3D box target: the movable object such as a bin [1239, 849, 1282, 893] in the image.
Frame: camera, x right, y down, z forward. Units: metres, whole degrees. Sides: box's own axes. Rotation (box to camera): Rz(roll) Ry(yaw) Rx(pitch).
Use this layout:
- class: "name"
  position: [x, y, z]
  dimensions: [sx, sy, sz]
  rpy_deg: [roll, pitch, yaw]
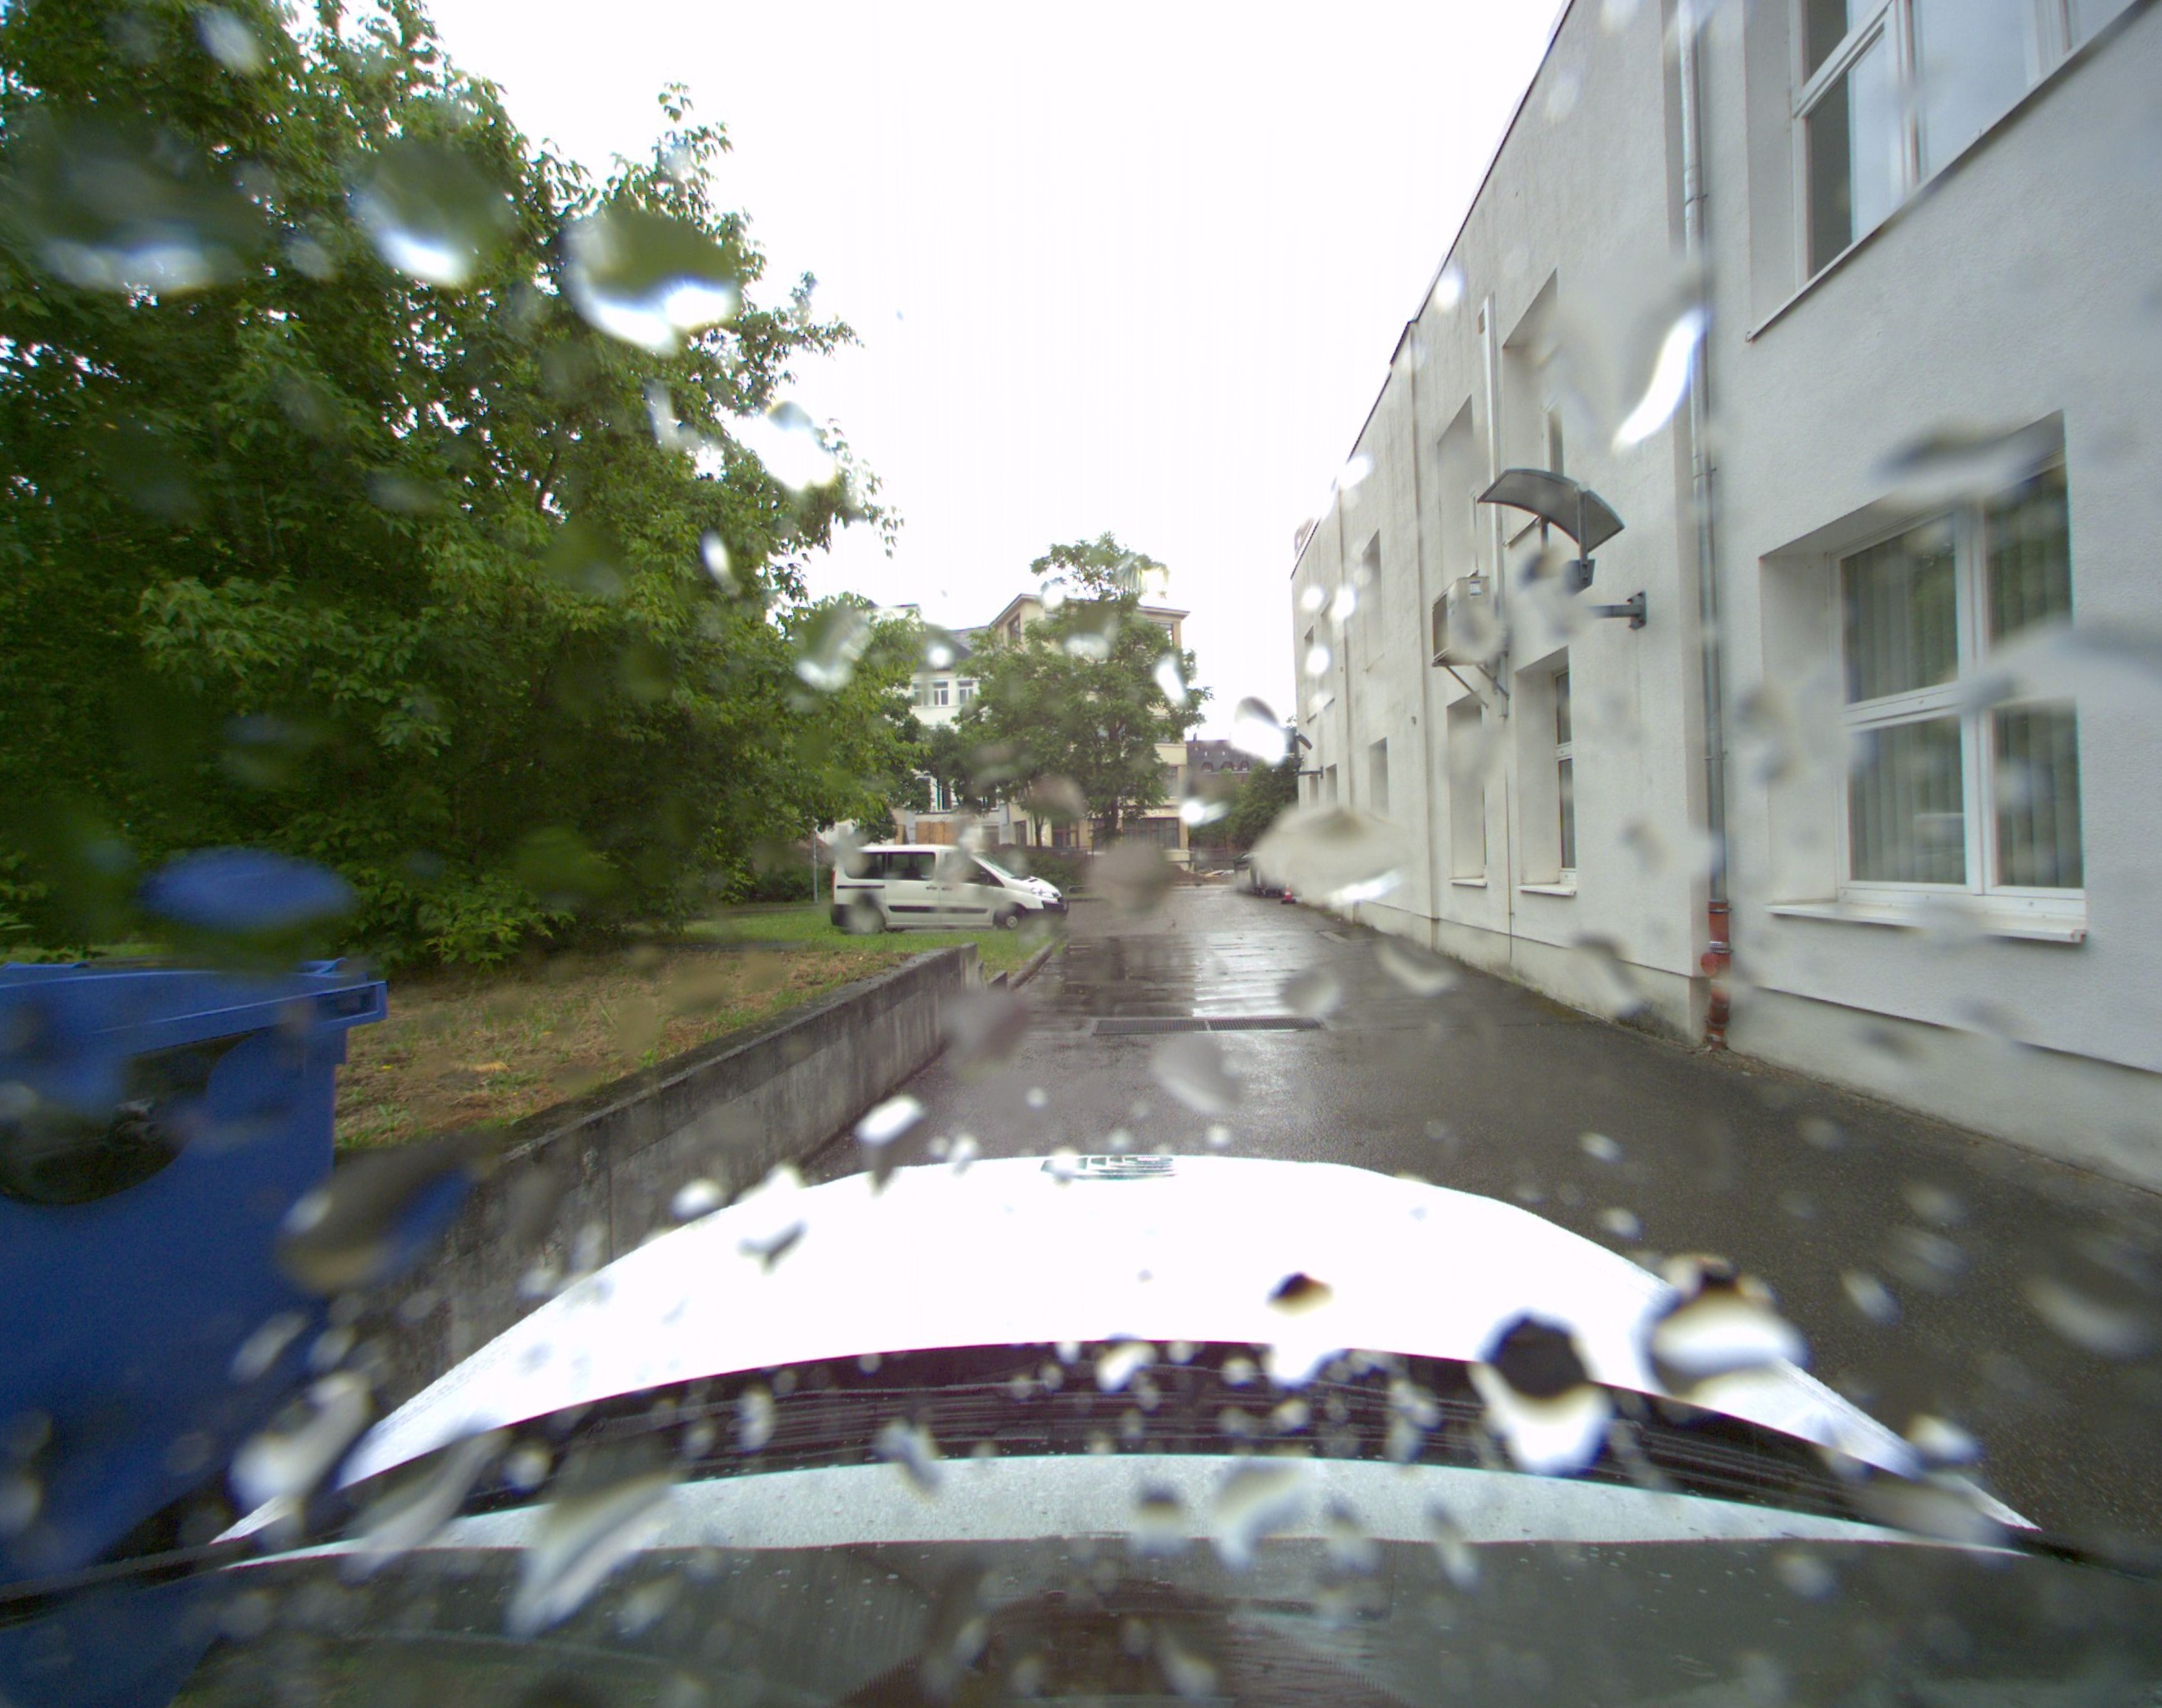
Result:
- class: "movable object such as a bin"
  position: [6.034, 0.581, 27.426]
  dimensions: [1.209, 1.437, 1.295]
  rpy_deg: [-2, -3, 4]

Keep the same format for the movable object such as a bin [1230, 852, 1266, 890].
- class: "movable object such as a bin"
  position: [6.500, 0.673, 31.797]
  dimensions: [1.209, 1.437, 1.260]
  rpy_deg: [-2, -3, 4]

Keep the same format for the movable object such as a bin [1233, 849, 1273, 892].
- class: "movable object such as a bin"
  position: [6.125, 0.604, 29.054]
  dimensions: [1.209, 1.468, 1.237]
  rpy_deg: [-2, -3, 3]

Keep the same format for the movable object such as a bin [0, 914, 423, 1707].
- class: "movable object such as a bin"
  position: [-2.341, 0.843, 1.611]
  dimensions: [1.215, 1.337, 1.008]
  rpy_deg: [-2, 0, 6]

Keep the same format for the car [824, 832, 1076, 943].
- class: "car"
  position: [-2.637, 0.673, 17.127]
  dimensions: [4.756, 2.013, 2.004]
  rpy_deg: [-3, 0, 6]

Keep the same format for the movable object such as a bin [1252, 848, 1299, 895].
- class: "movable object such as a bin"
  position: [6.111, 0.560, 25.720]
  dimensions: [1.209, 1.437, 1.237]
  rpy_deg: [-2, -3, 3]

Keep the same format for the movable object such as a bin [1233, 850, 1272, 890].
- class: "movable object such as a bin"
  position: [6.388, 0.619, 30.421]
  dimensions: [1.209, 1.437, 1.260]
  rpy_deg: [-2, -3, 4]
